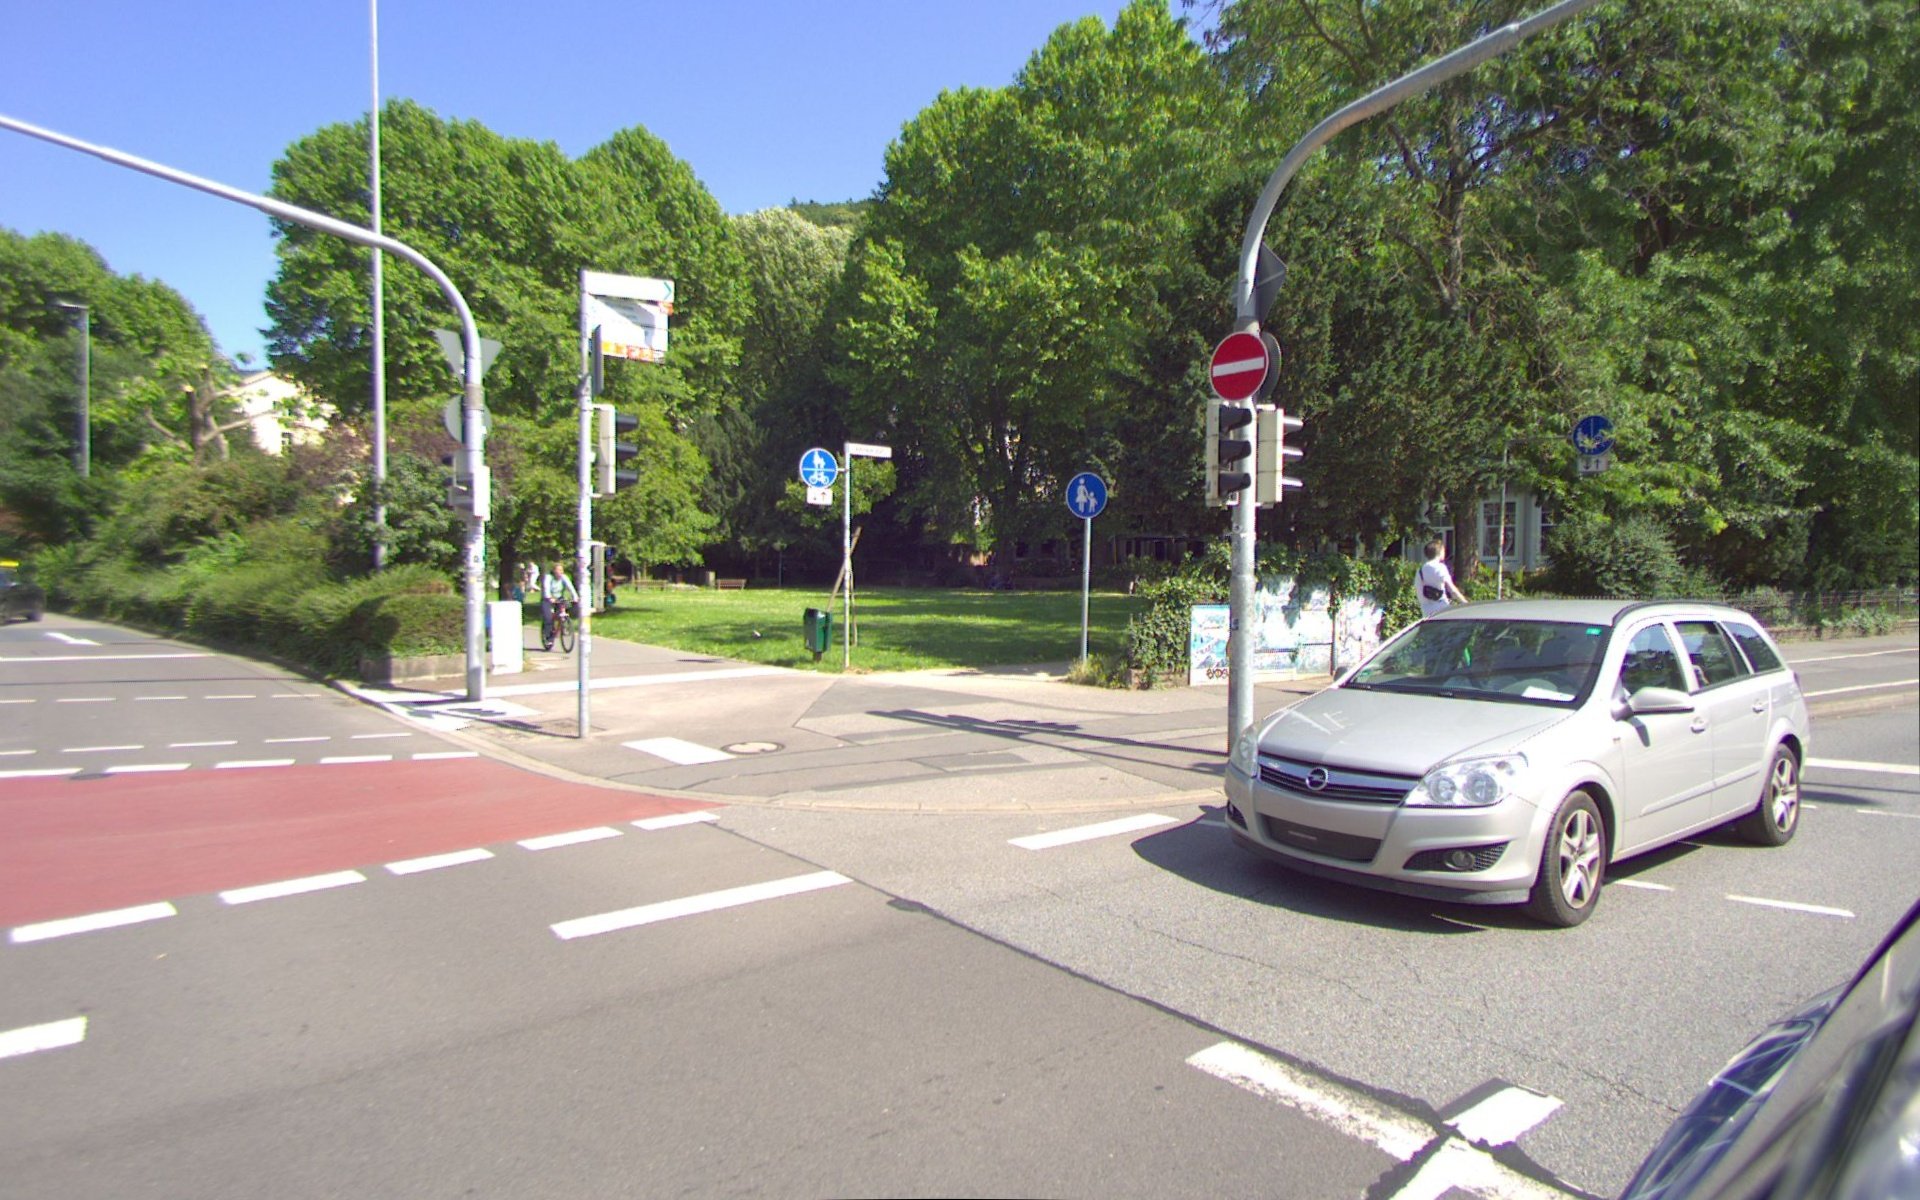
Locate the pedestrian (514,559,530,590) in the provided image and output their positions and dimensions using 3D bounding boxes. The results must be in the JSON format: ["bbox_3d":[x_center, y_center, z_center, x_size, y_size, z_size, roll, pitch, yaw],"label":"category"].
[{"bbox_3d":[-24.408,-1.403,56.403,0.676,1.705,0.662,-1,1,-37],"label":"pedestrian"}]

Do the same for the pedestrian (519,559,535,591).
[{"bbox_3d":[-23.906,-1.380,55.881,0.676,1.705,0.662,-1,1,-37],"label":"pedestrian"}]

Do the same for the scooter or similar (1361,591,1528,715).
[{"bbox_3d":[5.660,0.576,11.840,1.661,1.314,0.823,-1,3,-21],"label":"scooter or similar"}]

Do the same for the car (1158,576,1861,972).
[{"bbox_3d":[3.334,0.651,5.851,4.321,1.541,1.714,0,1,-33],"label":"car"}]

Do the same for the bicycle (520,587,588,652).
[{"bbox_3d":[-7.589,0.338,18.880,0.769,1.134,1.677,-1,1,-37],"label":"bicycle"}]

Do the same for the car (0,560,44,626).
[{"bbox_3d":[-25.451,-0.208,26.046,2.024,1.603,4.749,0,1,-33],"label":"car"}]

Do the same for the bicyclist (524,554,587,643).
[{"bbox_3d":[-7.563,-0.059,18.894,0.852,1.594,0.943,-2,3,-37],"label":"bicyclist"}]

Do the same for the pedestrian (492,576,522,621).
[{"bbox_3d":[-12.981,-0.057,28.999,0.702,1.286,0.453,-1,1,-36],"label":"pedestrian"}]

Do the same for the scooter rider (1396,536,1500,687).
[{"bbox_3d":[5.691,0.108,11.837,0.694,1.692,0.826,-1,2,-21],"label":"scooter rider"}]
